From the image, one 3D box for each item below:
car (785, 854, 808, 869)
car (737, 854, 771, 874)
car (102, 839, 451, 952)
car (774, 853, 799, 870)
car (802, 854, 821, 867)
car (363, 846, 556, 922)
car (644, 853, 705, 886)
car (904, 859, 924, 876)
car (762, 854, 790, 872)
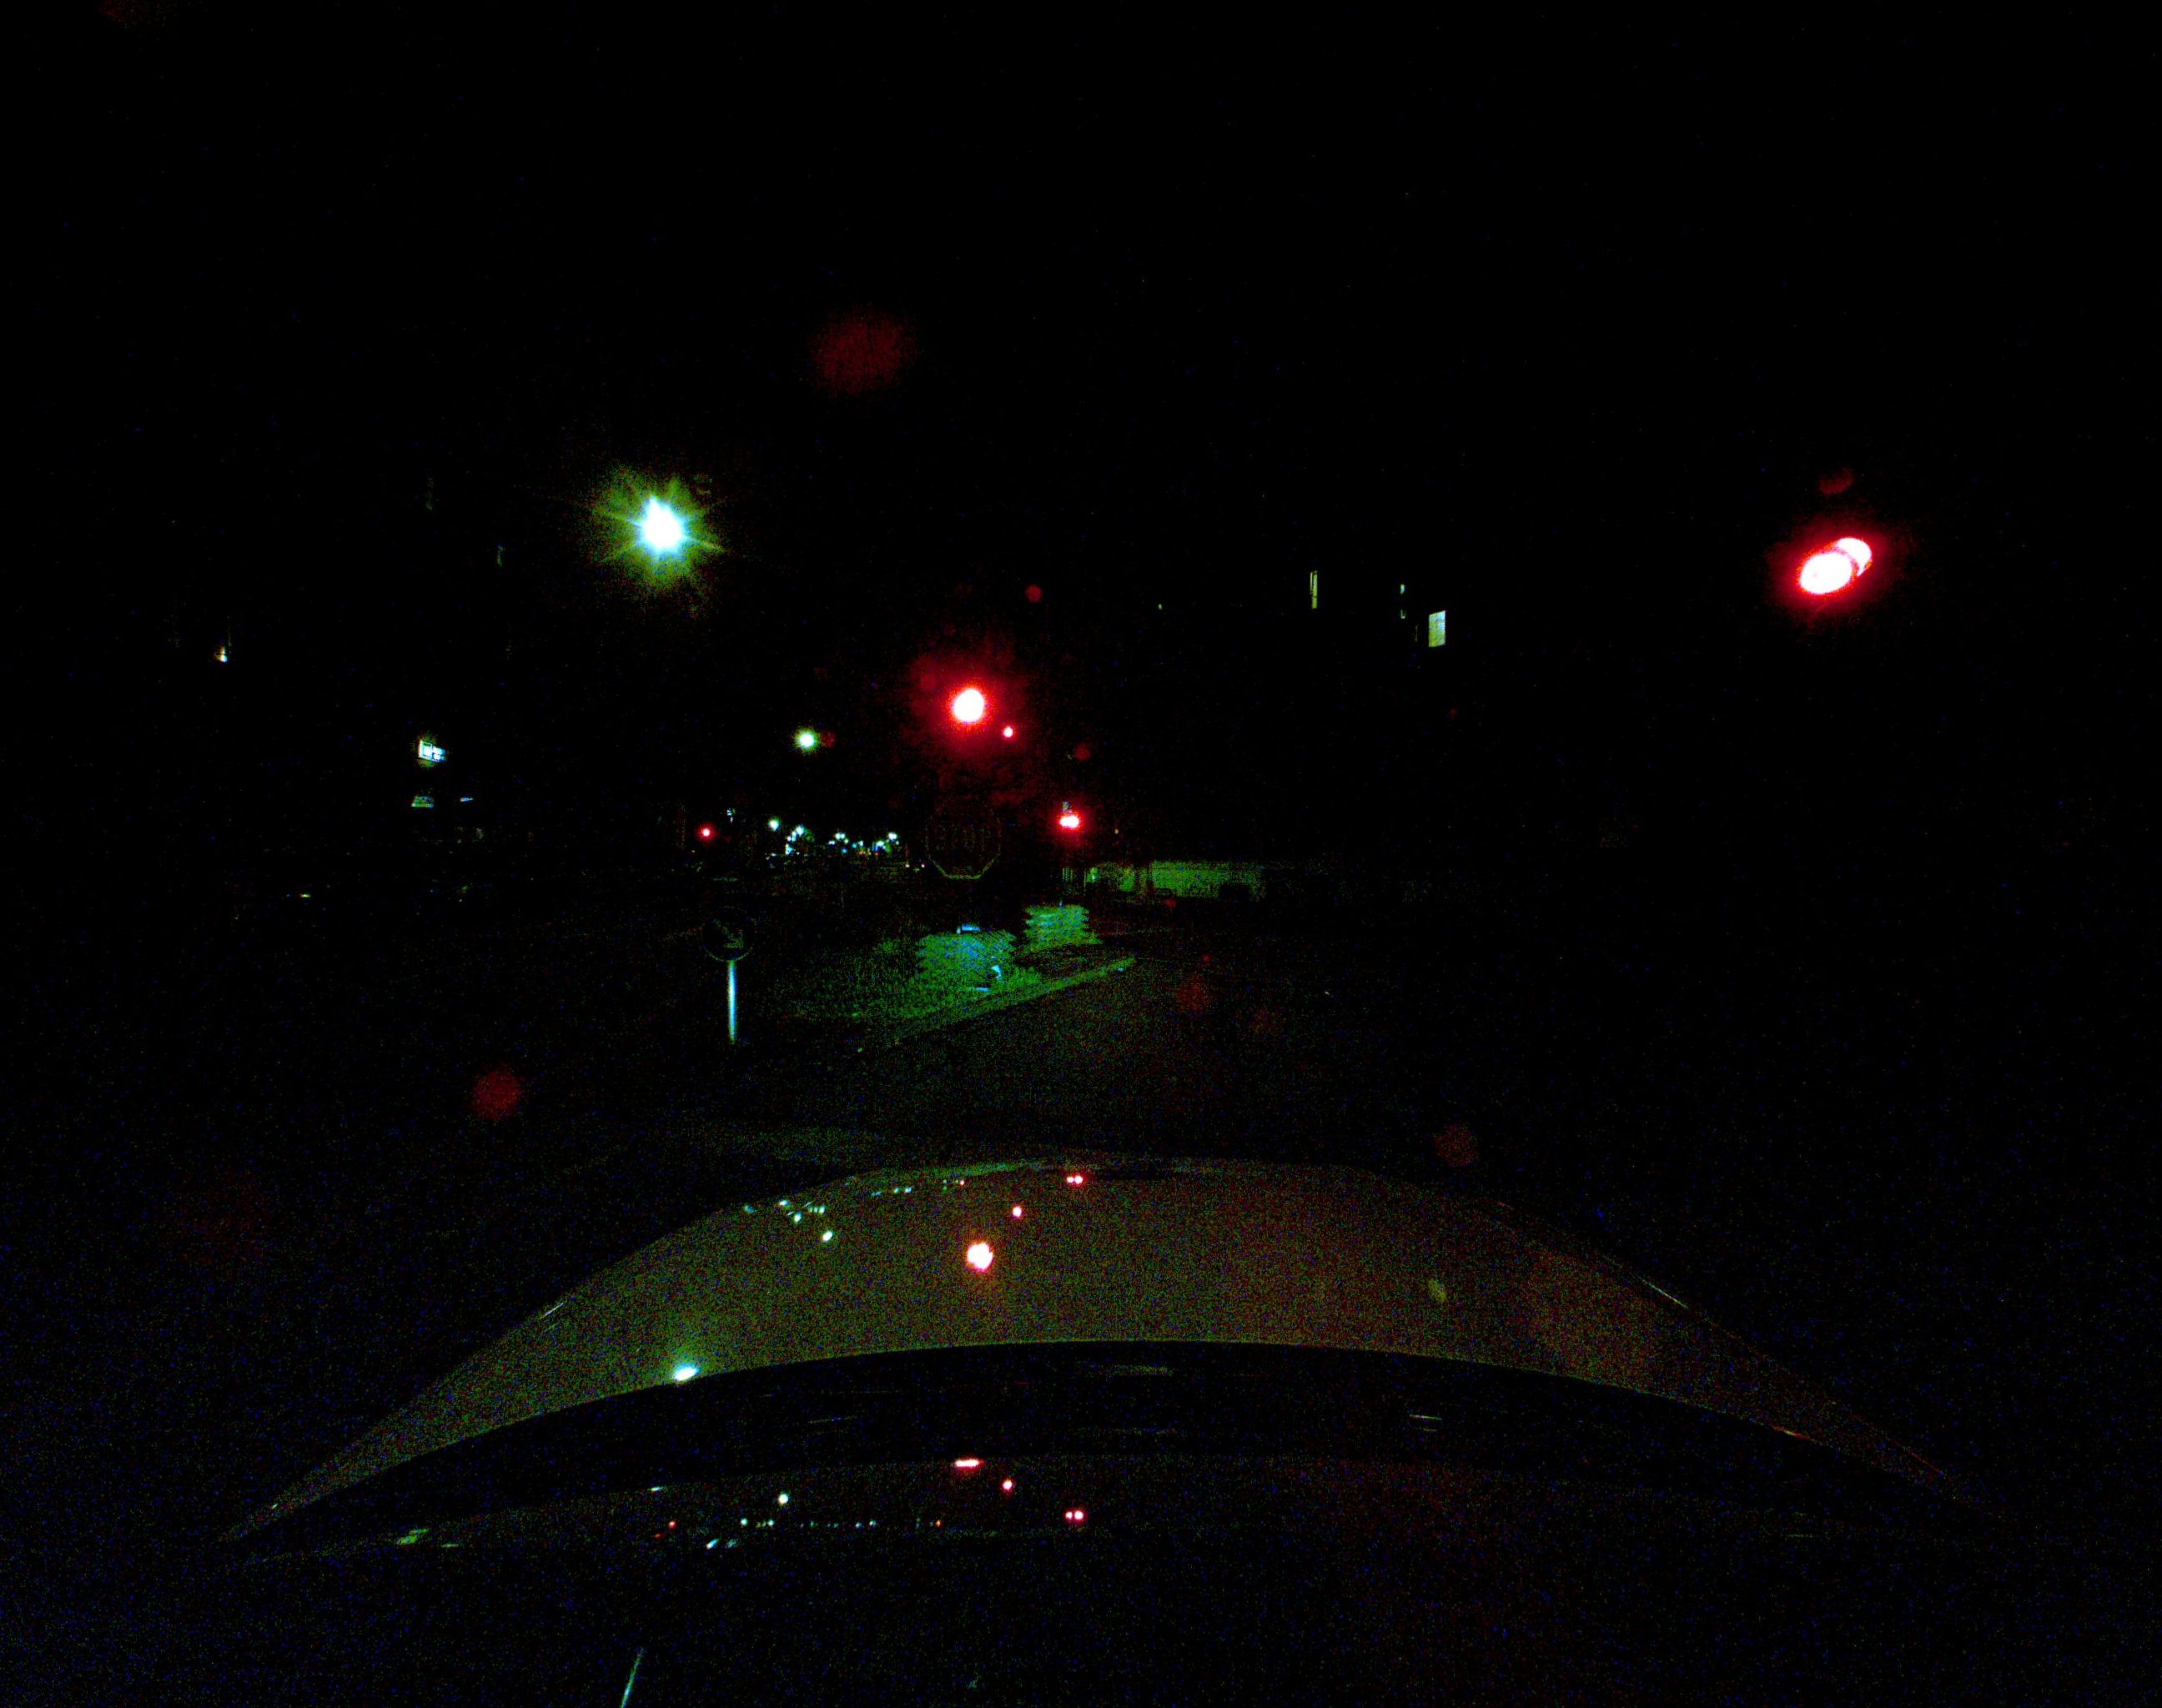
[{"bbox_3d":[-27.889,0.748,79.841,1.653,1.431,3.982,1,0,-13],"label":"car"},{"bbox_3d":[-23.676,0.726,59.136,1.653,1.431,3.982,1,0,-13],"label":"car"},{"bbox_3d":[-12.619,0.572,13.293,1.901,1.471,4.432,3,-1,-13],"label":"car"},{"bbox_3d":[-26.484,0.682,73.351,1.653,1.431,3.982,1,0,-13],"label":"car"},{"bbox_3d":[-30.853,0.761,93.193,1.653,1.431,3.982,1,0,-13],"label":"car"},{"bbox_3d":[-13.663,0.627,18.264,1.806,1.481,4.302,1,-1,-14],"label":"car"},{"bbox_3d":[-19.016,0.708,38.260,1.653,1.431,3.982,1,0,-13],"label":"car"},{"bbox_3d":[-14.863,1.162,72.418,1.652,1.431,3.984,1,0,-12],"label":"car"},{"bbox_3d":[-25.180,0.755,67.287,1.653,1.431,3.982,1,0,-13],"label":"car"}]
